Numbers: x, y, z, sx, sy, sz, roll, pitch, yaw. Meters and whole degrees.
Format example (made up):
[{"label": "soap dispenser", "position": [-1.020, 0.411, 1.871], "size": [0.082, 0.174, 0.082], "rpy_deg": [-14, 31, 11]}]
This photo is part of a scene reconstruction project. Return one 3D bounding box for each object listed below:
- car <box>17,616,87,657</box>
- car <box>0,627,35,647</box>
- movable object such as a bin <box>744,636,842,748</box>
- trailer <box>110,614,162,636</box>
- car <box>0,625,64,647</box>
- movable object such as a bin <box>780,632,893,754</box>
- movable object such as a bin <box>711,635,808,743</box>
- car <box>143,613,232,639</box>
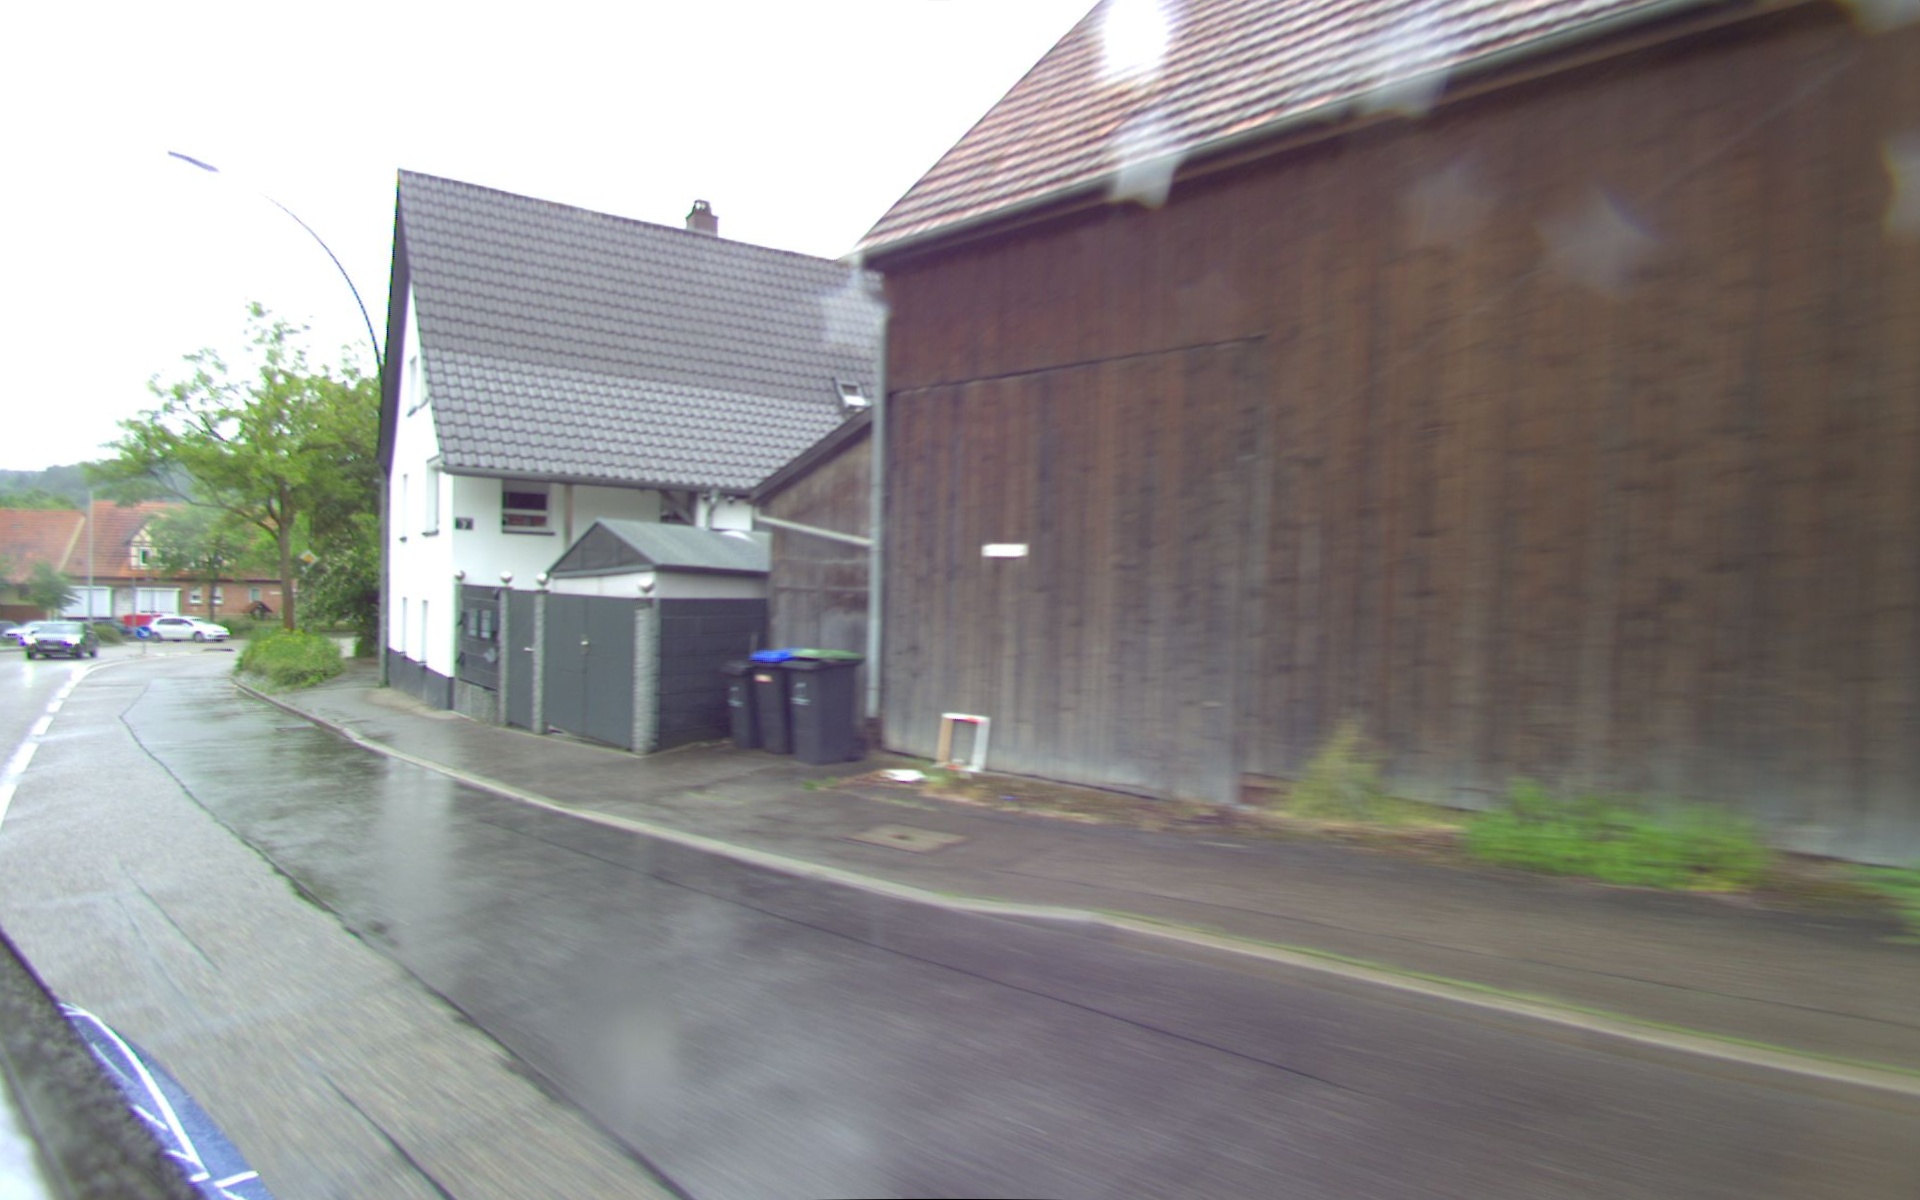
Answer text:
[{"label": "car", "position": [-37.595, 1.470, 41.963], "size": [1.968, 1.541, 4.007], "rpy_deg": [1, -1, -40]}, {"label": "car", "position": [-66.757, 2.557, 70.093], "size": [1.852, 1.386, 4.002], "rpy_deg": [0, -1, -3]}, {"label": "movable object such as a bin", "position": [-1.723, 0.924, 10.447], "size": [0.808, 1.069, 0.597], "rpy_deg": [0, 0, -45]}, {"label": "trailer", "position": [-62.377, 1.909, 76.642], "size": [2.680, 1.662, 1.416], "rpy_deg": [0, -1, -12]}, {"label": "car", "position": [-64.287, 2.446, 69.787], "size": [1.599, 1.401, 4.004], "rpy_deg": [0, 0, -4]}, {"label": "movable object such as a bin", "position": [-1.206, 0.881, 9.940], "size": [0.887, 1.086, 0.652], "rpy_deg": [-1, 1, -45]}, {"label": "movable object such as a bin", "position": [-2.152, 0.932, 10.898], "size": [0.826, 1.066, 0.612], "rpy_deg": [0, 0, -45]}, {"label": "car", "position": [-46.334, 1.543, 60.713], "size": [4.094, 1.547, 1.756], "rpy_deg": [0, 0, 2]}]
